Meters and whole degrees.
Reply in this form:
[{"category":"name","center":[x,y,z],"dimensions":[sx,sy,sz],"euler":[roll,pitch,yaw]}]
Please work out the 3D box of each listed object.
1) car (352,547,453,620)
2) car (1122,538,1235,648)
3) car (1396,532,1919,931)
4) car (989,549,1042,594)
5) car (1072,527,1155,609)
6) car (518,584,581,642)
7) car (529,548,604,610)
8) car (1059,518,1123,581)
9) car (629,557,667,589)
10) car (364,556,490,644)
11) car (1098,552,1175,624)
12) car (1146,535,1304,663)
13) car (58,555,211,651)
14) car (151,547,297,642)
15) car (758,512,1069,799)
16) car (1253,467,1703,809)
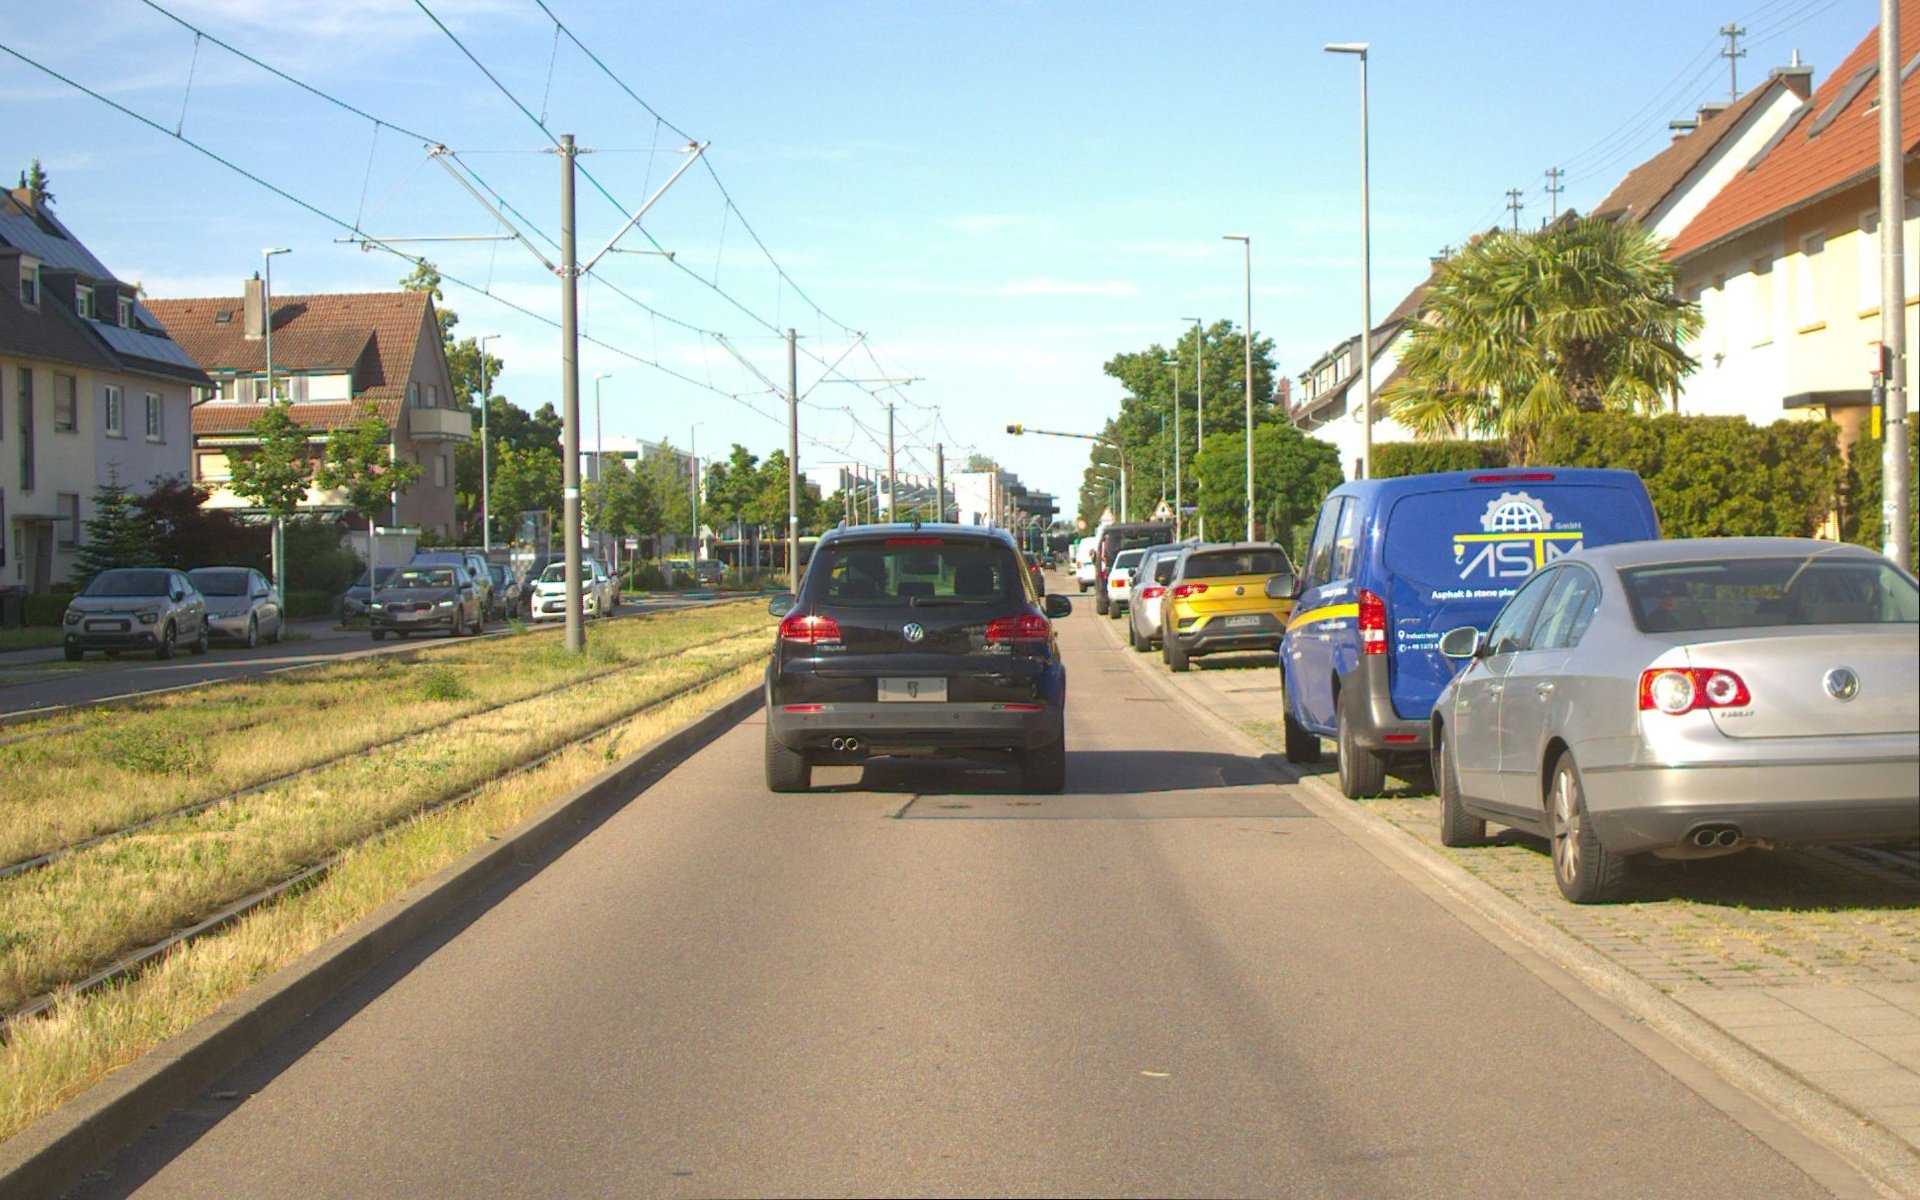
[{"category":"car","center":[-12.772,-0.351,78.960],"dimensions":[1.660,1.576,4.000],"euler":[-1,-1,0]},{"category":"car","center":[3.217,-0.135,51.053],"dimensions":[1.451,1.546,3.830],"euler":[-1,1,1]},{"category":"car","center":[3.228,0.458,15.187],"dimensions":[1.786,1.436,4.460],"euler":[-2,1,-3]},{"category":"car","center":[1.799,-0.939,111.750],"dimensions":[1.572,1.386,3.615],"euler":[-1,1,-1]},{"category":"car","center":[3.564,-0.772,80.284],"dimensions":[1.770,1.838,3.864],"euler":[-1,1,1]},{"category":"car","center":[-12.157,0.368,101.928],"dimensions":[1.465,1.671,3.287],"euler":[-1,0,-1]},{"category":"car","center":[-9.590,-0.505,83.949],"dimensions":[1.465,1.449,3.287],"euler":[-1,0,-1]},{"category":"car","center":[3.882,-1.509,102.302],"dimensions":[1.770,1.814,3.864],"euler":[-1,1,1]},{"category":"car","center":[-14.508,-1.253,160.125],"dimensions":[1.465,1.449,3.287],"euler":[-1,0,-1]},{"category":"car","center":[-10.464,0.028,67.749],"dimensions":[1.873,1.649,4.000],"euler":[-1,-1,-1]},{"category":"car","center":[3.737,-0.276,73.221],"dimensions":[1.442,1.472,3.864],"euler":[-1,1,1]},{"category":"car","center":[3.331,-0.032,43.722],"dimensions":[1.645,1.529,3.864],"euler":[-1,1,-1]},{"category":"car","center":[-13.587,0.030,56.764],"dimensions":[1.659,1.491,3.580],"euler":[-1,1,0]},{"category":"car","center":[-13.427,-0.133,62.923],"dimensions":[1.803,1.626,4.000],"euler":[-1,1,0]},{"category":"car","center":[-0.338,0.314,22.356],"dimensions":[1.812,1.665,4.258],"euler":[1,0,-2]},{"category":"car","center":[3.086,0.174,21.558],"dimensions":[1.993,1.855,4.917],"euler":[-1,1,-1]}]
